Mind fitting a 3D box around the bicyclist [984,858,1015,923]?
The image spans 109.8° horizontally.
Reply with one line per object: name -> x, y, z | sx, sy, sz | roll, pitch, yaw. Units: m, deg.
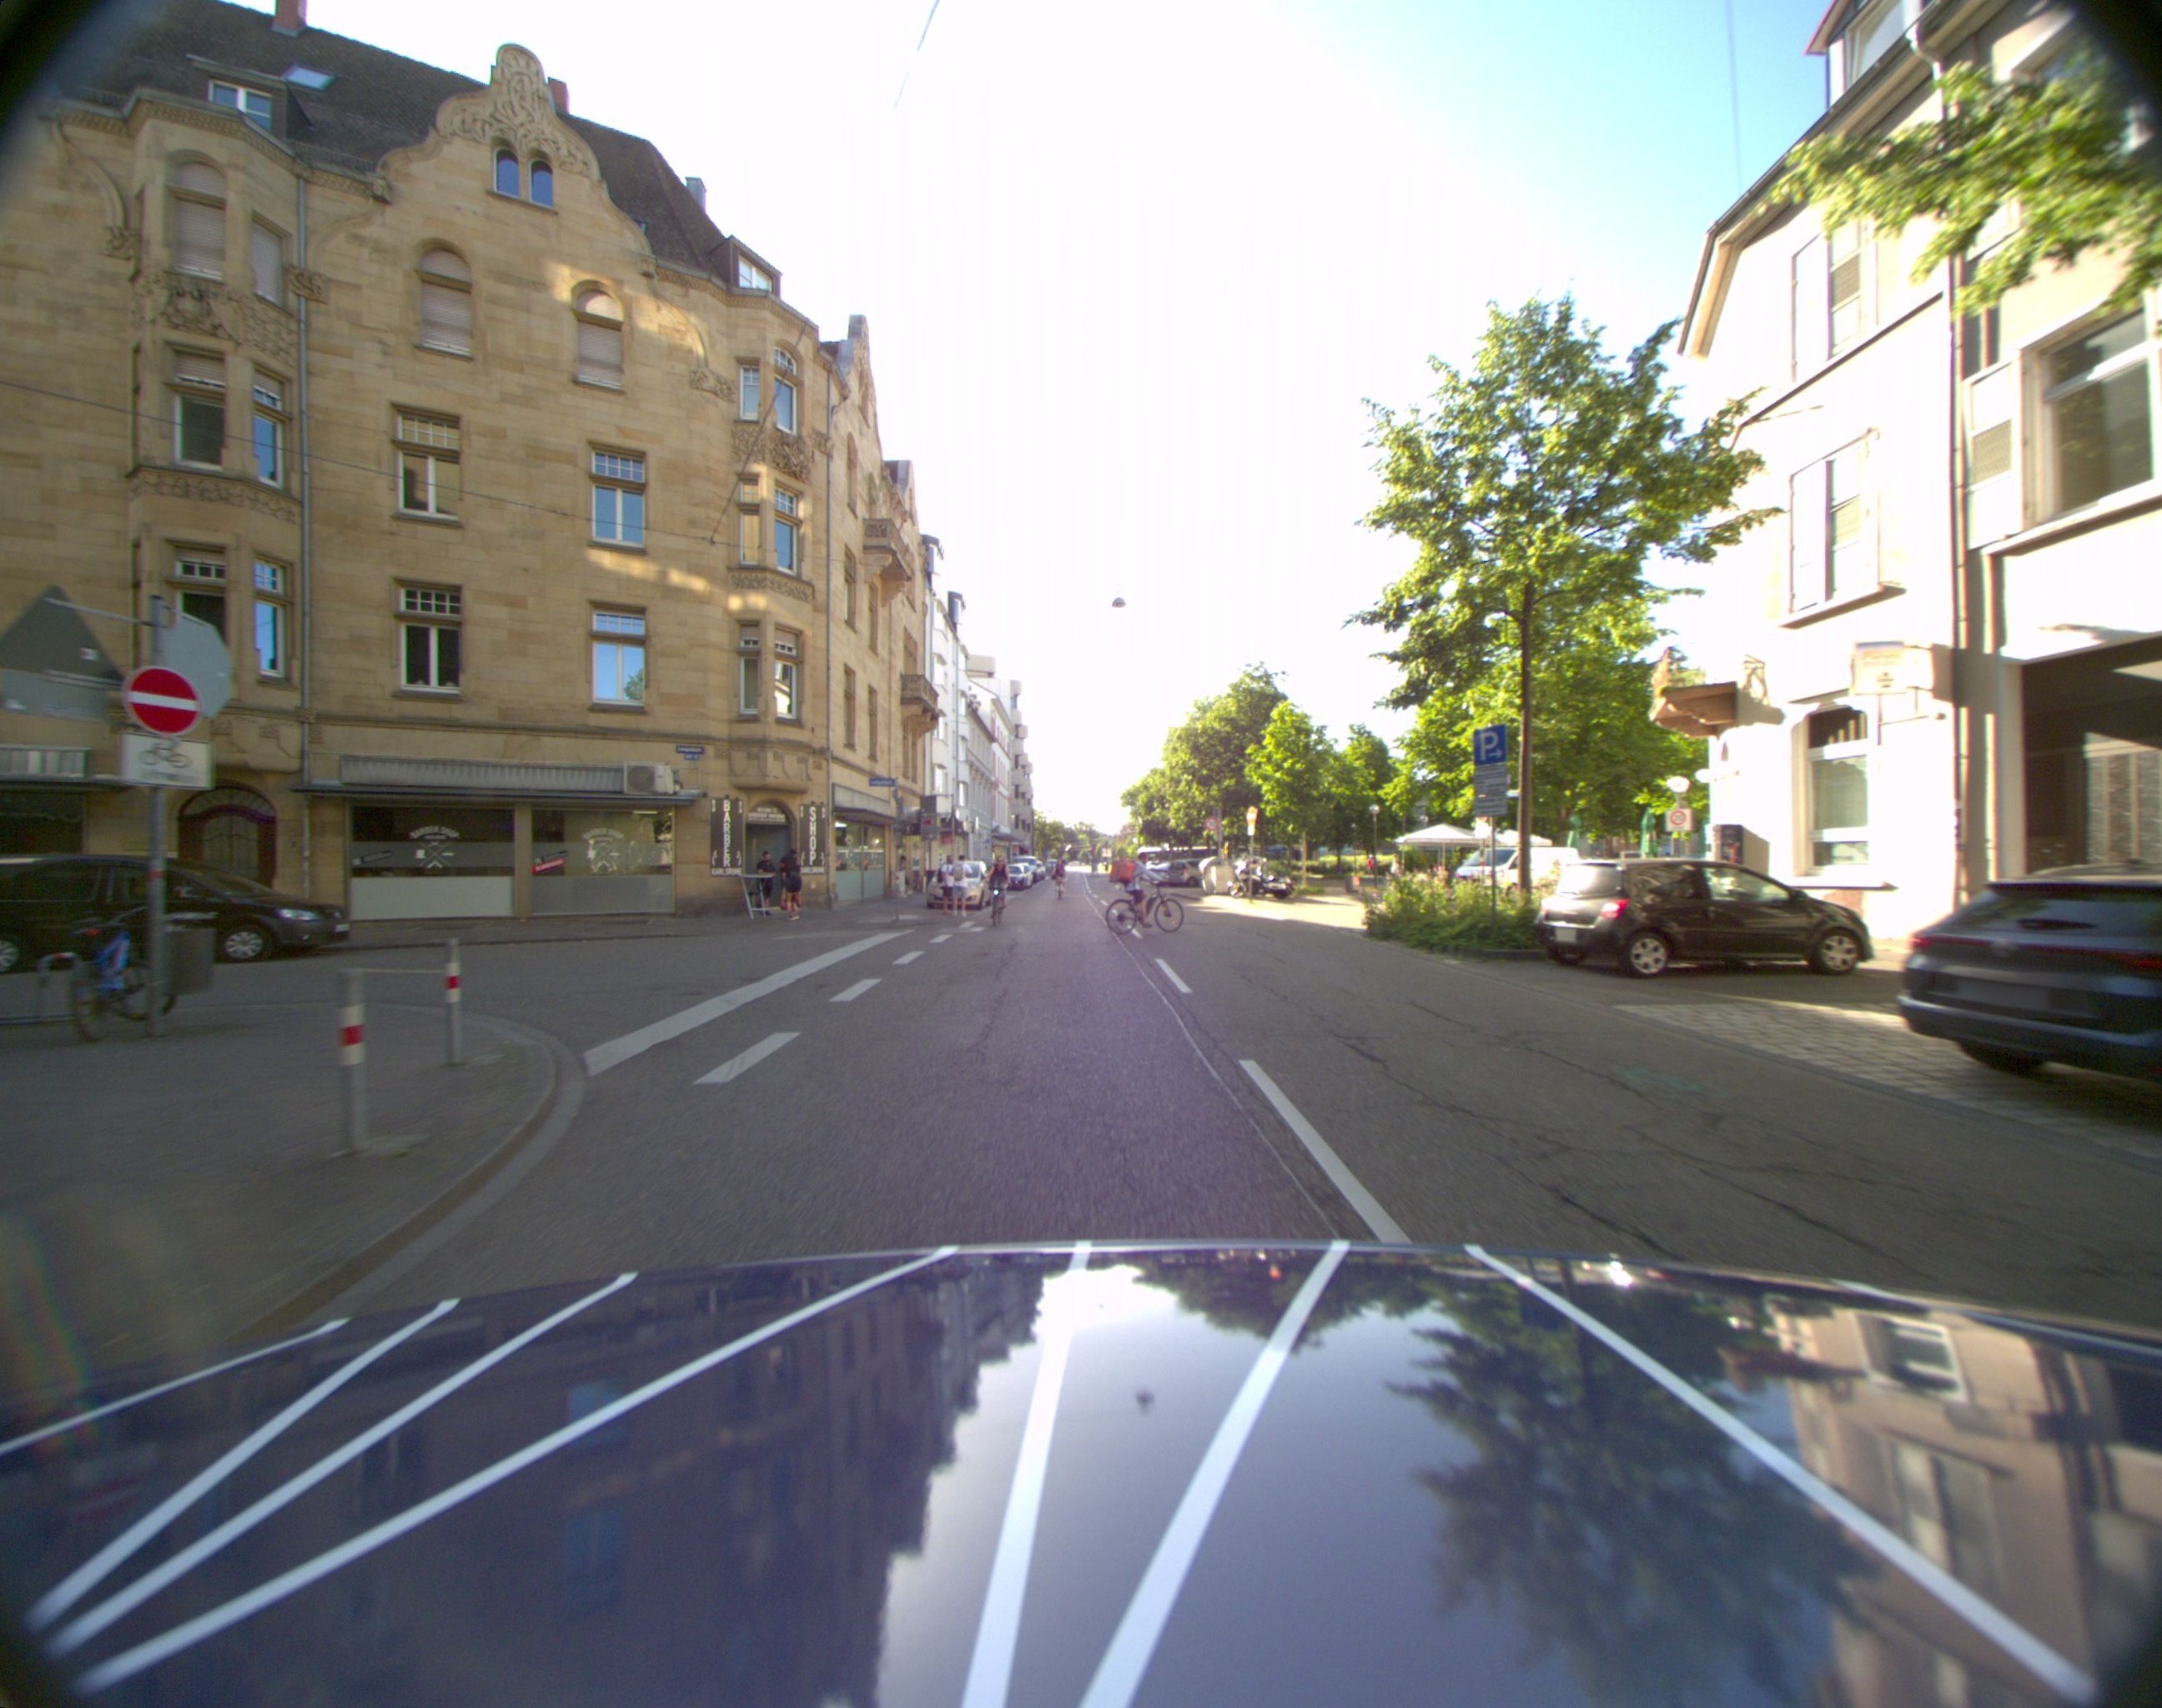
bicyclist -> -1.993, 0.877, 18.650 | 0.658, 1.562, 0.909 | 0, 0, 0

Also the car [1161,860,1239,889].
car -> 6.792, 1.115, 43.330 | 4.007, 1.553, 1.995 | 0, 0, -31

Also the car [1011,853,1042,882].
car -> -3.978, 0.960, 56.261 | 1.999, 1.941, 5.100 | 2, 0, -2

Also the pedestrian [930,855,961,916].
pedestrian -> -3.897, 0.903, 21.846 | 0.699, 1.709, 0.693 | 2, 0, -23

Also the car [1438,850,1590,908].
car -> 15.629, 0.910, 27.382 | 5.336, 1.933, 2.070 | 1, -1, -26

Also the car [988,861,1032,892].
car -> -3.947, 1.206, 42.764 | 1.998, 1.564, 4.000 | 2, 0, 0

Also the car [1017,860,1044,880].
car -> -4.037, 1.288, 61.383 | 1.999, 1.444, 3.869 | 2, 0, -1

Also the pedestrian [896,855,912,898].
pedestrian -> -7.151, 0.896, 30.773 | 0.536, 1.732, 0.598 | 0, 0, -5

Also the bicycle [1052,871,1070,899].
bicycle -> -0.880, 1.298, 32.631 | 0.718, 1.105, 2.269 | 0, 0, -2

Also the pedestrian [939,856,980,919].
pedestrian -> -3.386, 0.929, 21.283 | 0.693, 1.709, 0.897 | 2, 0, 24

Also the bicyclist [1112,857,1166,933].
bicyclist -> 1.172, 0.819, 15.538 | 0.891, 1.516, 0.668 | -1, 0, -21

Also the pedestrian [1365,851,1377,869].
pedestrian -> 20.460, 0.447, 53.592 | 0.527, 1.249, 0.519 | 1, 0, -18

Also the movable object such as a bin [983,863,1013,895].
movable object such as a bin -> -3.930, 1.184, 36.133 | 1.147, 1.413, 1.411 | 3, 0, 4

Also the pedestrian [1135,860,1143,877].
pedestrian -> 5.684, 1.424, 74.203 | 0.691, 1.578, 0.615 | 0, 0, 10

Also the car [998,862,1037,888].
car -> -3.861, 1.256, 46.900 | 1.998, 1.482, 4.000 | 2, 0, 0

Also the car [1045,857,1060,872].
car -> -4.140, 1.489, 109.401 | 1.998, 2.002, 4.000 | 0, 0, 0

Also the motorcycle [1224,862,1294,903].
motorcycle -> 6.520, 1.024, 27.820 | 2.316, 1.415, 1.002 | -1, 0, 27

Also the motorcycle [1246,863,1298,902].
motorcycle -> 7.182, 1.047, 28.635 | 1.750, 1.415, 0.831 | -1, 0, 26

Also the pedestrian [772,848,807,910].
pedestrian -> -8.039, 0.671, 20.978 | 0.498, 1.682, 0.717 | 0, 1, 27

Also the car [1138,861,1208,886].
car -> 5.900, 1.226, 48.691 | 4.005, 1.465, 1.996 | 0, 0, -26

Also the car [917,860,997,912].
car -> -4.093, 1.013, 25.751 | 1.978, 1.564, 4.127 | 2, 0, 0

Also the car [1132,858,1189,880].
car -> 6.298, 1.176, 60.256 | 4.003, 1.683, 1.997 | 0, 0, -19

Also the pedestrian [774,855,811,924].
pedestrian -> -7.281, 0.886, 19.192 | 0.617, 1.682, 0.677 | 3, 2, 44

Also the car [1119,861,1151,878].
car -> 4.732, 1.311, 66.589 | 1.771, 1.421, 4.006 | -1, 0, 19

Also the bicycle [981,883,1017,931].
bicycle -> -1.996, 1.265, 18.597 | 0.666, 1.061, 1.836 | 0, 0, 0

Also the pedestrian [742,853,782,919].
pedestrian -> -8.369, 0.819, 19.942 | 0.618, 1.682, 0.717 | 0, 1, 27

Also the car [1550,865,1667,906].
car -> 20.568, 1.196, 29.601 | 4.157, 1.507, 1.924 | 1, -1, -25

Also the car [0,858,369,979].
car -> -15.090, 0.967, 12.632 | 4.323, 1.761, 1.996 | 0, 0, -24

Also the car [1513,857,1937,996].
car -> 8.262, 0.867, 10.057 | 3.997, 1.630, 1.944 | 0, 0, -1

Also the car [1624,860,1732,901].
car -> 24.963, 1.106, 31.765 | 4.157, 1.602, 1.924 | 1, -1, -25

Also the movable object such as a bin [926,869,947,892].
movable object such as a bin -> -6.937, 1.268, 36.503 | 0.725, 1.042, 0.664 | 3, -2, 10

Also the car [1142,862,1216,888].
car -> 5.878, 1.223, 45.543 | 4.007, 1.433, 1.995 | 0, 0, -31

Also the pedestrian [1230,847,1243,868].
pedestrian -> 9.471, 0.203, 46.357 | 0.521, 1.249, 0.525 | 1, 0, -34

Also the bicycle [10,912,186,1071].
bicycle -> -8.774, 1.152, 6.858 | 0.574, 1.154, 1.740 | 1, -1, -39

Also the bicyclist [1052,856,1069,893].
bicyclist -> -0.877, 0.871, 32.555 | 0.718, 1.553, 0.864 | 0, 0, -2

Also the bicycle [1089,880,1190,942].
bicycle -> 1.205, 1.136, 15.547 | 1.946, 1.151, 0.668 | 0, 0, -21

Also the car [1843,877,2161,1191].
car -> 7.665, 0.928, 4.468 | 4.349, 1.535, 1.945 | 0, 0, 2

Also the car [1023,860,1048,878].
car -> -3.946, 1.267, 66.235 | 1.999, 1.444, 3.955 | 2, 0, -1
